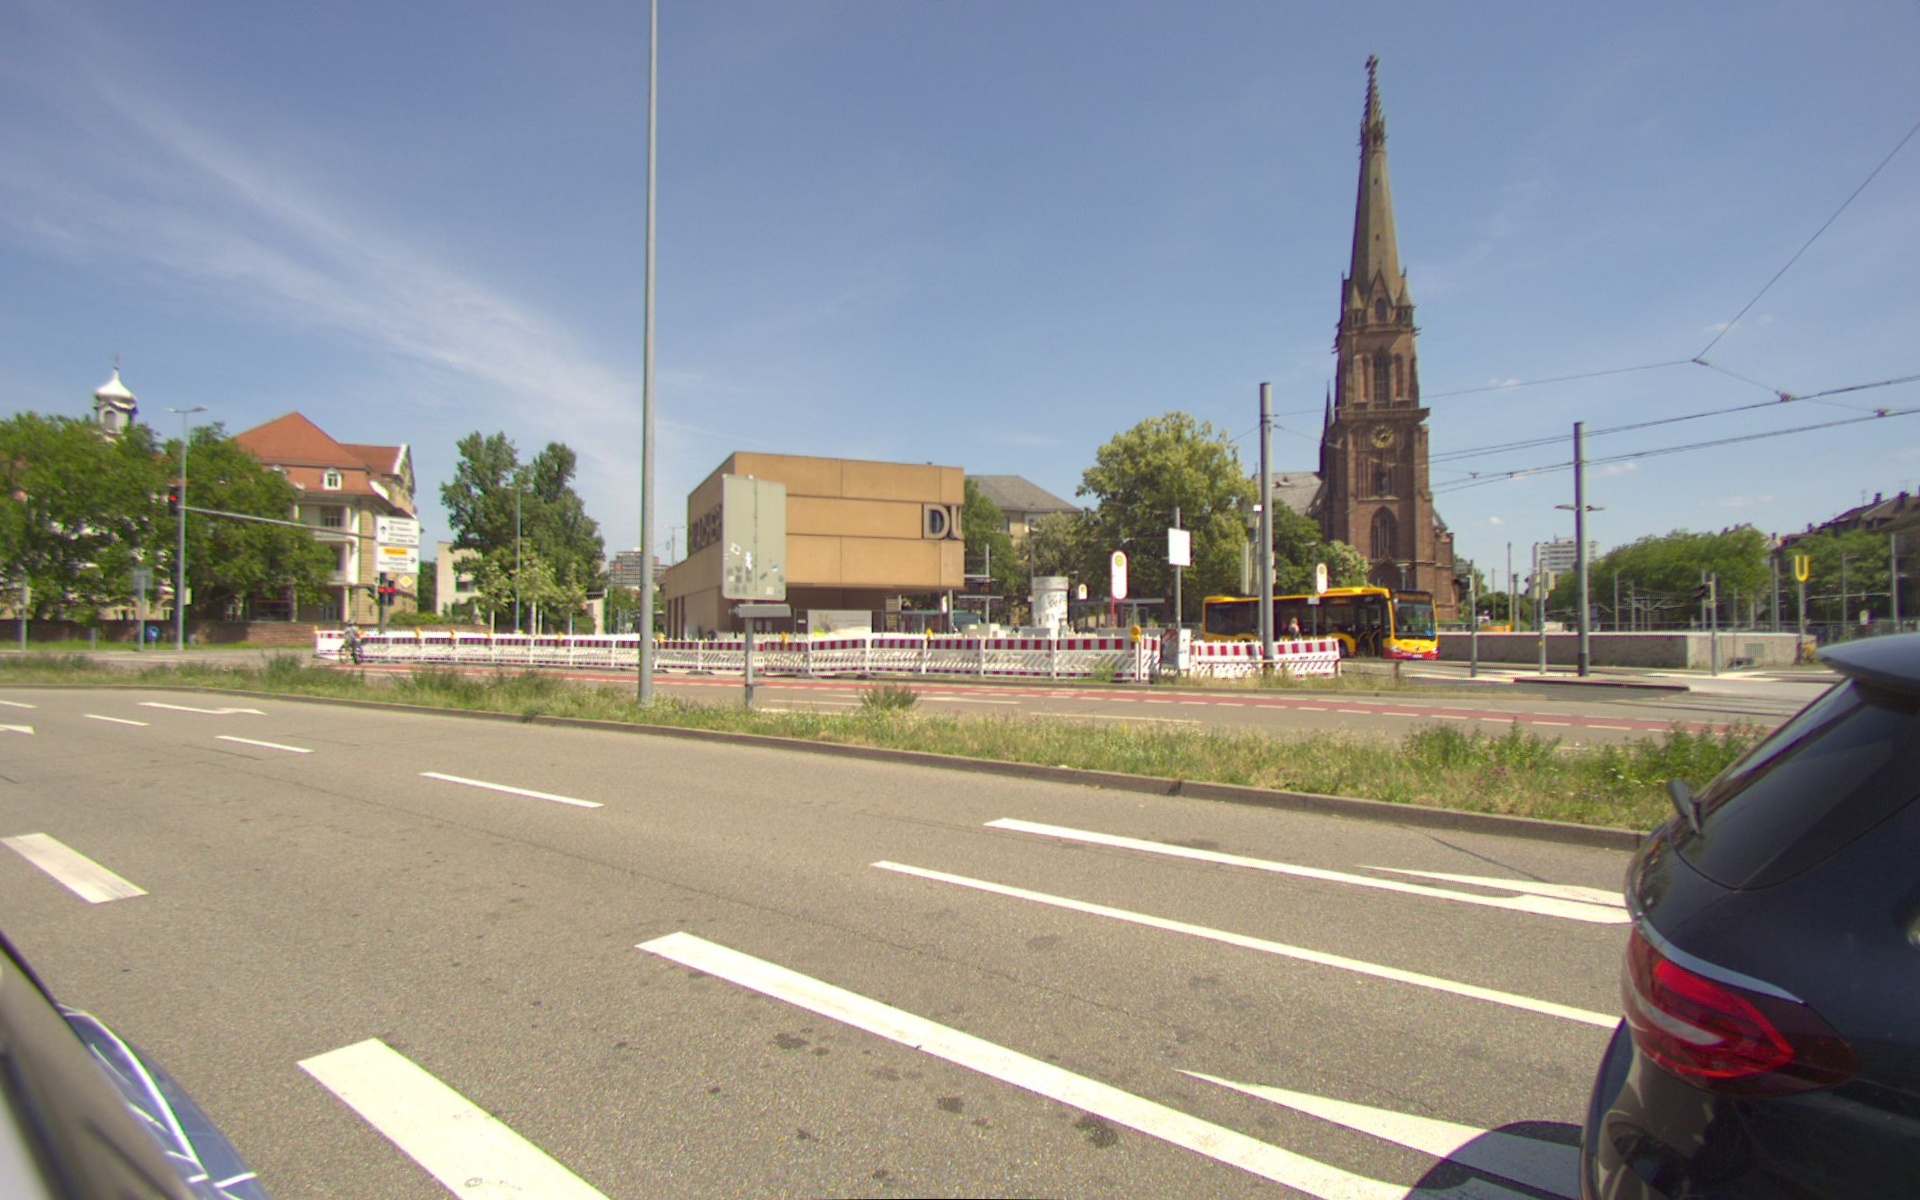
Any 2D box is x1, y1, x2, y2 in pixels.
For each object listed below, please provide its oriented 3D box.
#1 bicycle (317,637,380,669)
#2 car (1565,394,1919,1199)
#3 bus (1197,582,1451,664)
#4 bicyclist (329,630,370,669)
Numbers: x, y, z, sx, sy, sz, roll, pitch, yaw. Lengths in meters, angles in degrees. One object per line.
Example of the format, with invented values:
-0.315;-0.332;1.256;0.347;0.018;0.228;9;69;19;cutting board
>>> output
-22.076;1.908;36.513;2.220;1.080;0.871;-1;0;26;bicycle
3.174;0.550;0.375;4.803;1.653;1.778;-2;-1;42;car
15.156;1.082;43.969;2.807;3.039;12.260;1;-2;-22;bus
-22.096;1.777;36.611;1.432;1.366;0.582;-1;0;26;bicyclist
